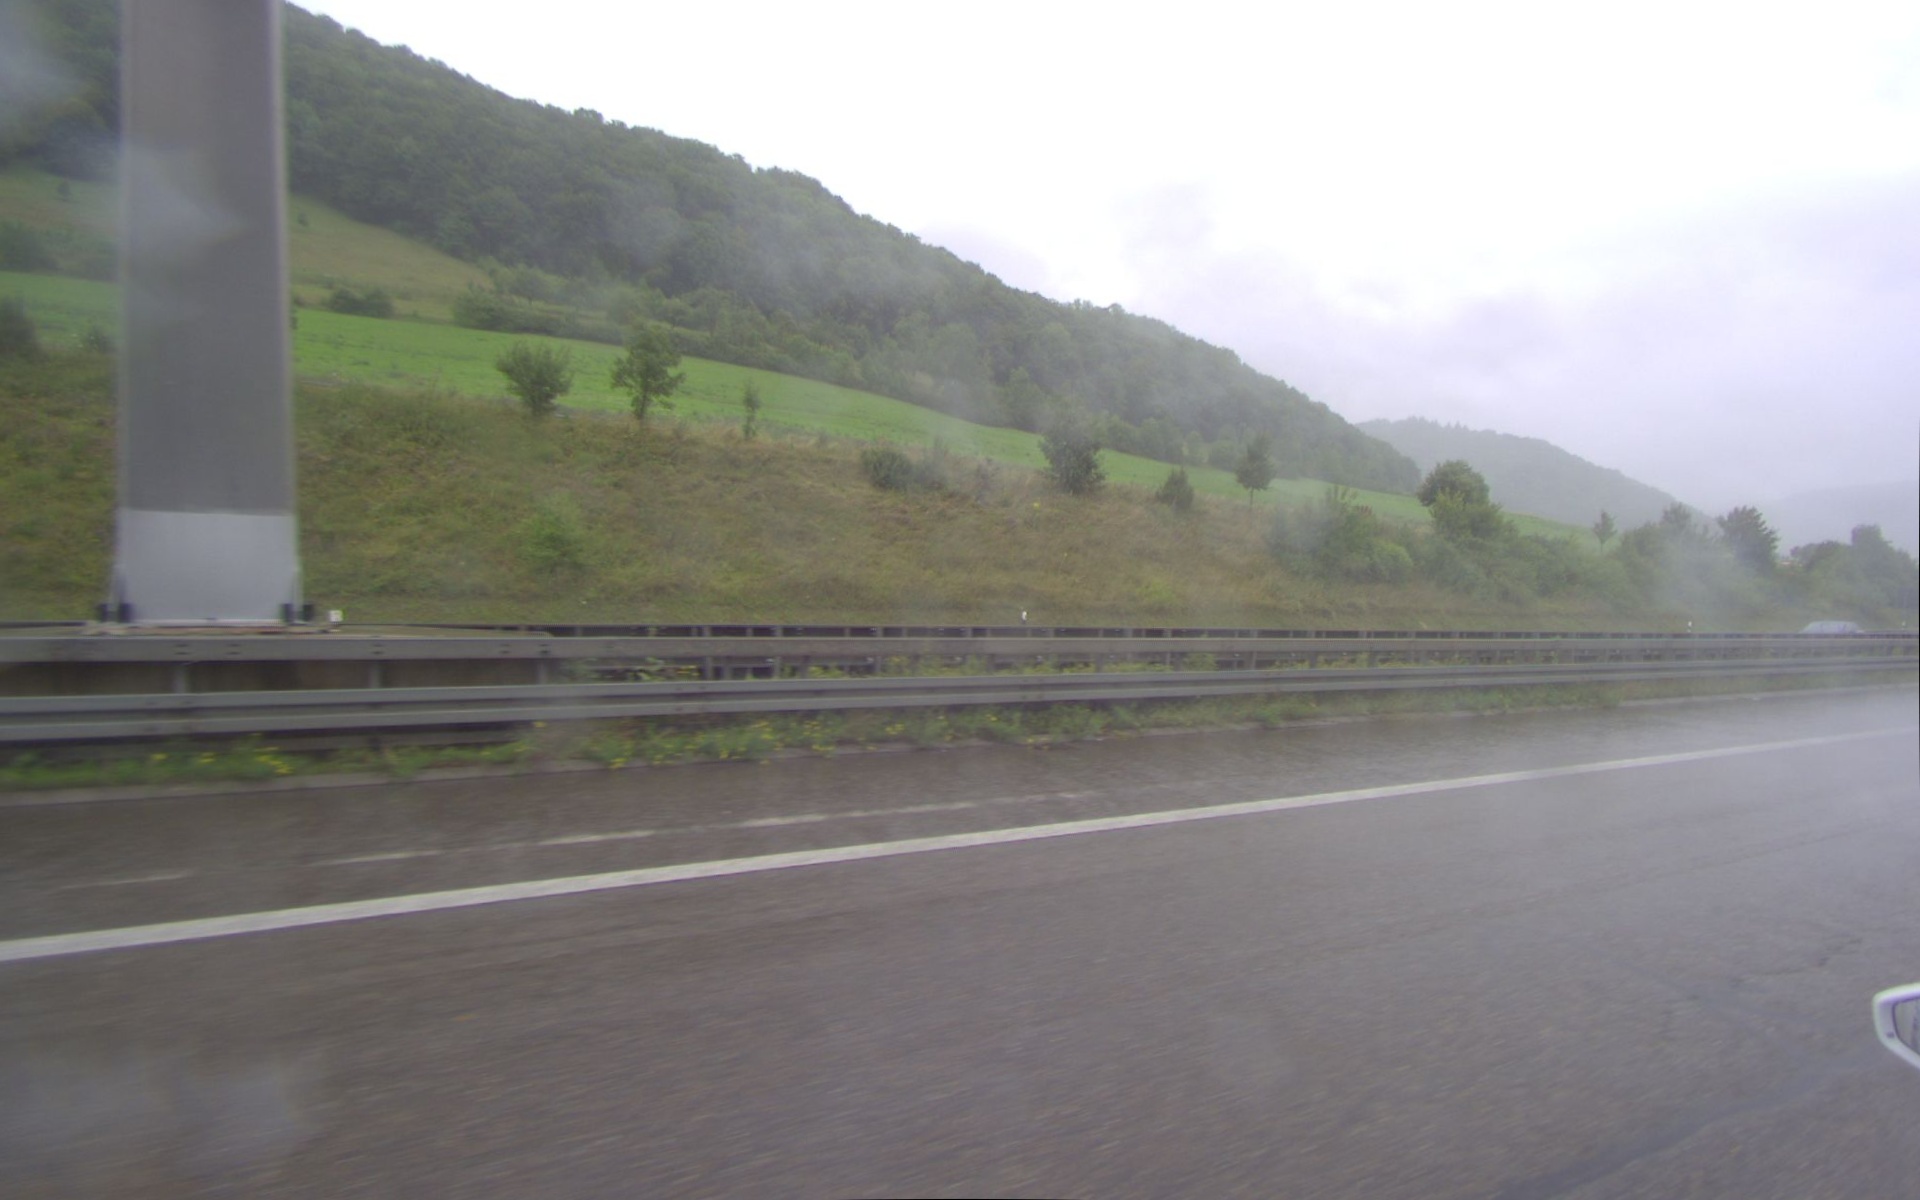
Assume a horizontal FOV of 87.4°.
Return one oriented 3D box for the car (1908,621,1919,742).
[{"bbox_3d":[14.824,1.134,13.389,4.739,1.536,2.388,2,1,-37],"label":"car"}]
